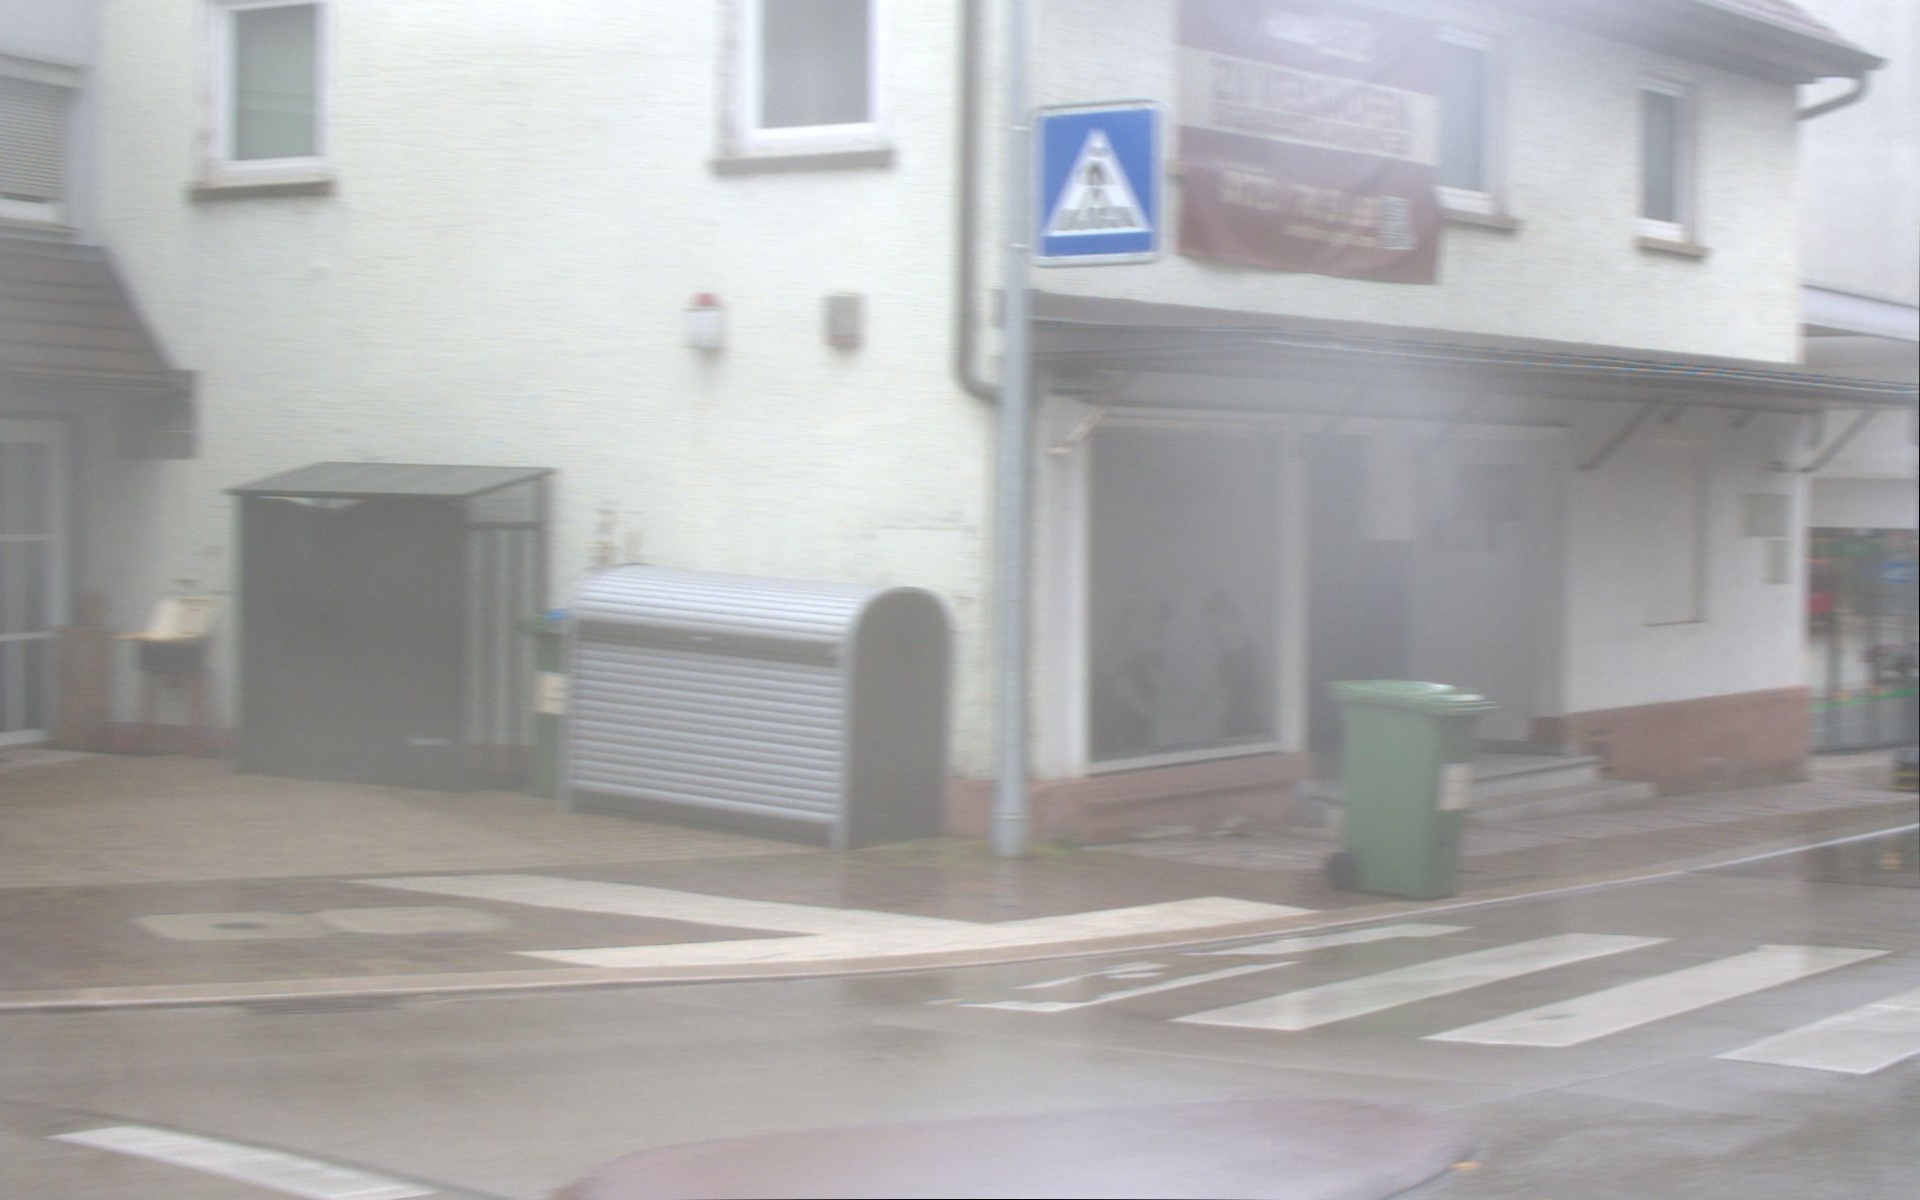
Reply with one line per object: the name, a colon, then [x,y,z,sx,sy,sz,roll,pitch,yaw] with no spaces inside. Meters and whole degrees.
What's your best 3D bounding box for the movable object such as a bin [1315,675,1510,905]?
movable object such as a bin: [2.293,0.944,17.375,0.688,1.077,0.759,4,1,28]
